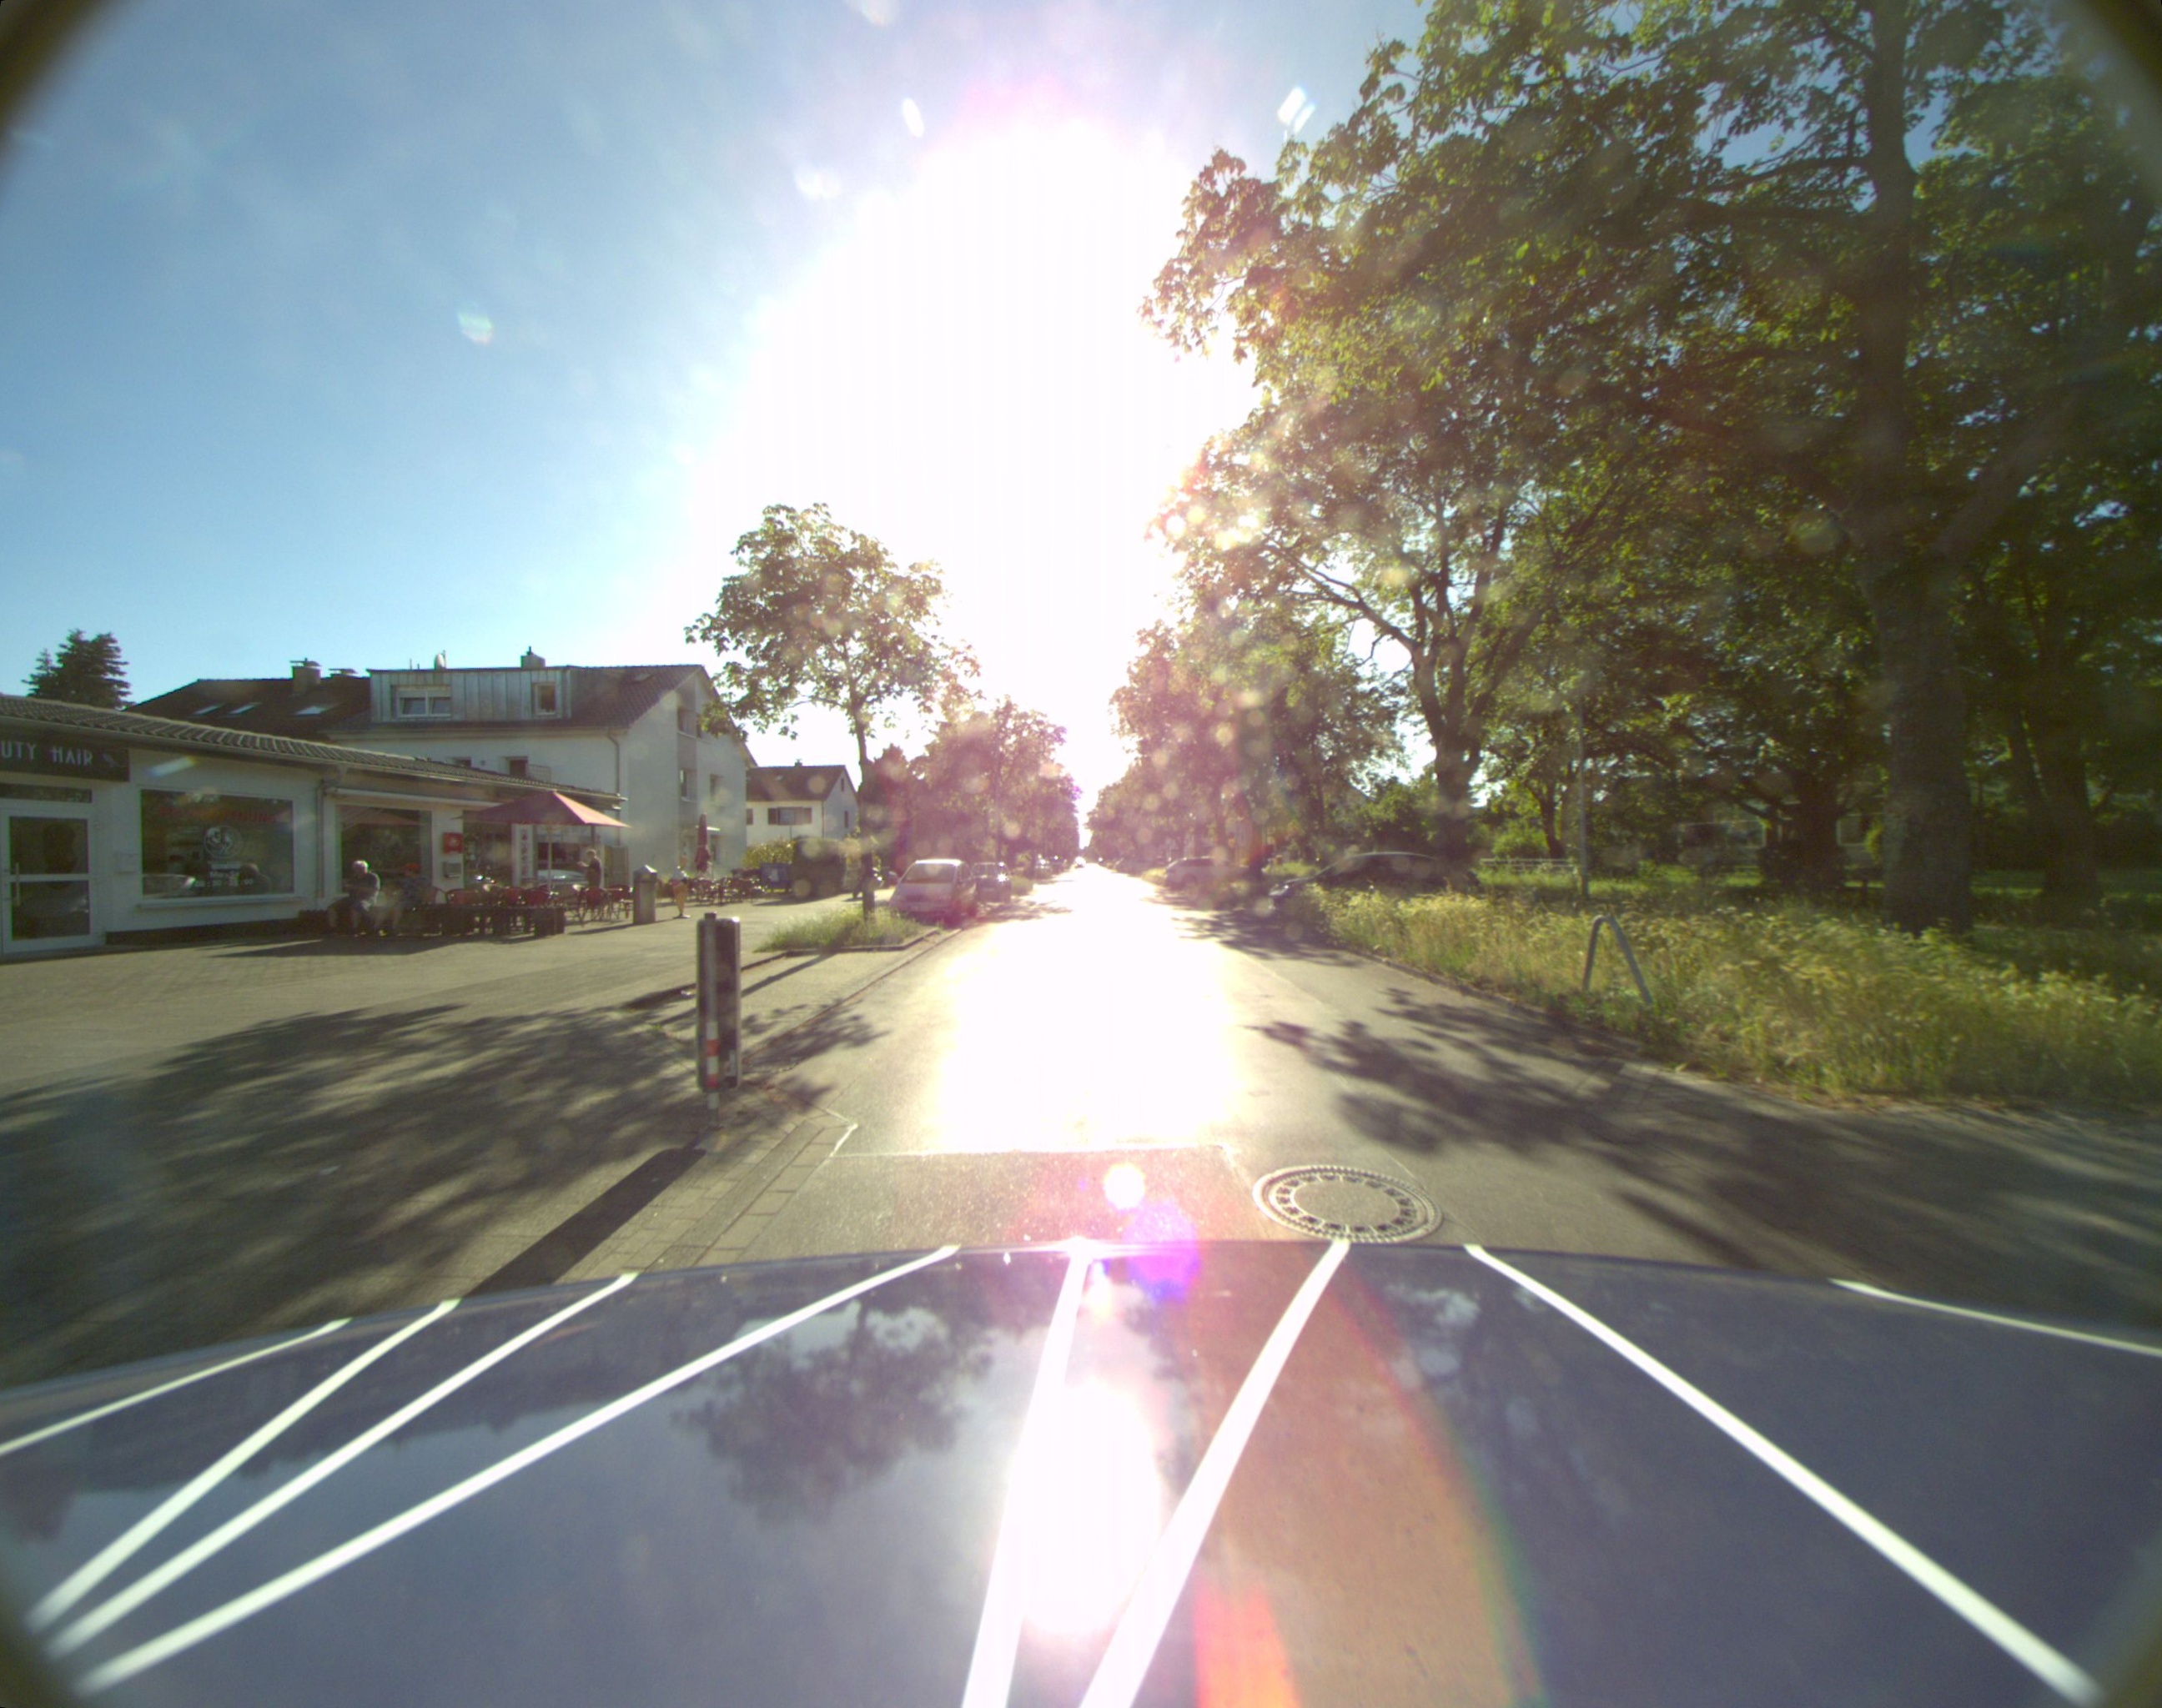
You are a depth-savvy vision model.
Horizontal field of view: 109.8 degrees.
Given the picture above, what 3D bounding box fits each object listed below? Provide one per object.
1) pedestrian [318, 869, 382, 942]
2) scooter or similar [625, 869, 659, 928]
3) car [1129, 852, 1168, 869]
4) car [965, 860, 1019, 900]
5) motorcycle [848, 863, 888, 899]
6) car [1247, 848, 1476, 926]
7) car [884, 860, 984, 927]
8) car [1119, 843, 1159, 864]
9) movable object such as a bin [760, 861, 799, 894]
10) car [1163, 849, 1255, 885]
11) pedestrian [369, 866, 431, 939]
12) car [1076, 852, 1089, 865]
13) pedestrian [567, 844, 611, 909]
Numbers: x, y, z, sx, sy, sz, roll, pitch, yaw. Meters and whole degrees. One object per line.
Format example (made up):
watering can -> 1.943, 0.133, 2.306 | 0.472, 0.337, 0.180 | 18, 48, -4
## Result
pedestrian -> -13.787, 0.957, 14.337 | 0.641, 1.314, 0.574 | 2, 1, 1
scooter or similar -> -9.938, 1.000, 17.215 | 0.503, 1.288, 0.461 | 0, 1, -3
car -> 7.435, 0.726, 84.069 | 3.997, 1.740, 1.890 | -2, 1, -1
car -> -3.497, 0.989, 30.481 | 1.733, 1.473, 3.857 | -1, 0, 0
motorcycle -> -8.136, 1.004, 29.174 | 0.838, 1.247, 2.345 | -2, 1, 0
car -> 6.433, 0.722, 17.855 | 4.615, 1.552, 2.000 | -2, 1, 1
car -> -3.813, 0.983, 20.333 | 1.732, 1.568, 3.858 | 0, 0, 3
car -> 7.697, -0.062, 100.922 | 5.121, 2.597, 2.125 | -2, 1, 3
movable object such as a bin -> -12.001, 0.923, 30.318 | 1.172, 1.286, 0.928 | 0, 1, -1
car -> 6.323, 0.632, 37.868 | 4.204, 1.552, 2.000 | -2, 1, 1
pedestrian -> -12.867, 0.912, 14.369 | 0.641, 1.314, 0.574 | 2, 1, 1
car -> 0.257, 0.802, 127.346 | 1.998, 2.002, 3.999 | -2, 1, 1
pedestrian -> -14.114, 0.630, 21.815 | 0.672, 1.798, 0.735 | -2, 1, 1
